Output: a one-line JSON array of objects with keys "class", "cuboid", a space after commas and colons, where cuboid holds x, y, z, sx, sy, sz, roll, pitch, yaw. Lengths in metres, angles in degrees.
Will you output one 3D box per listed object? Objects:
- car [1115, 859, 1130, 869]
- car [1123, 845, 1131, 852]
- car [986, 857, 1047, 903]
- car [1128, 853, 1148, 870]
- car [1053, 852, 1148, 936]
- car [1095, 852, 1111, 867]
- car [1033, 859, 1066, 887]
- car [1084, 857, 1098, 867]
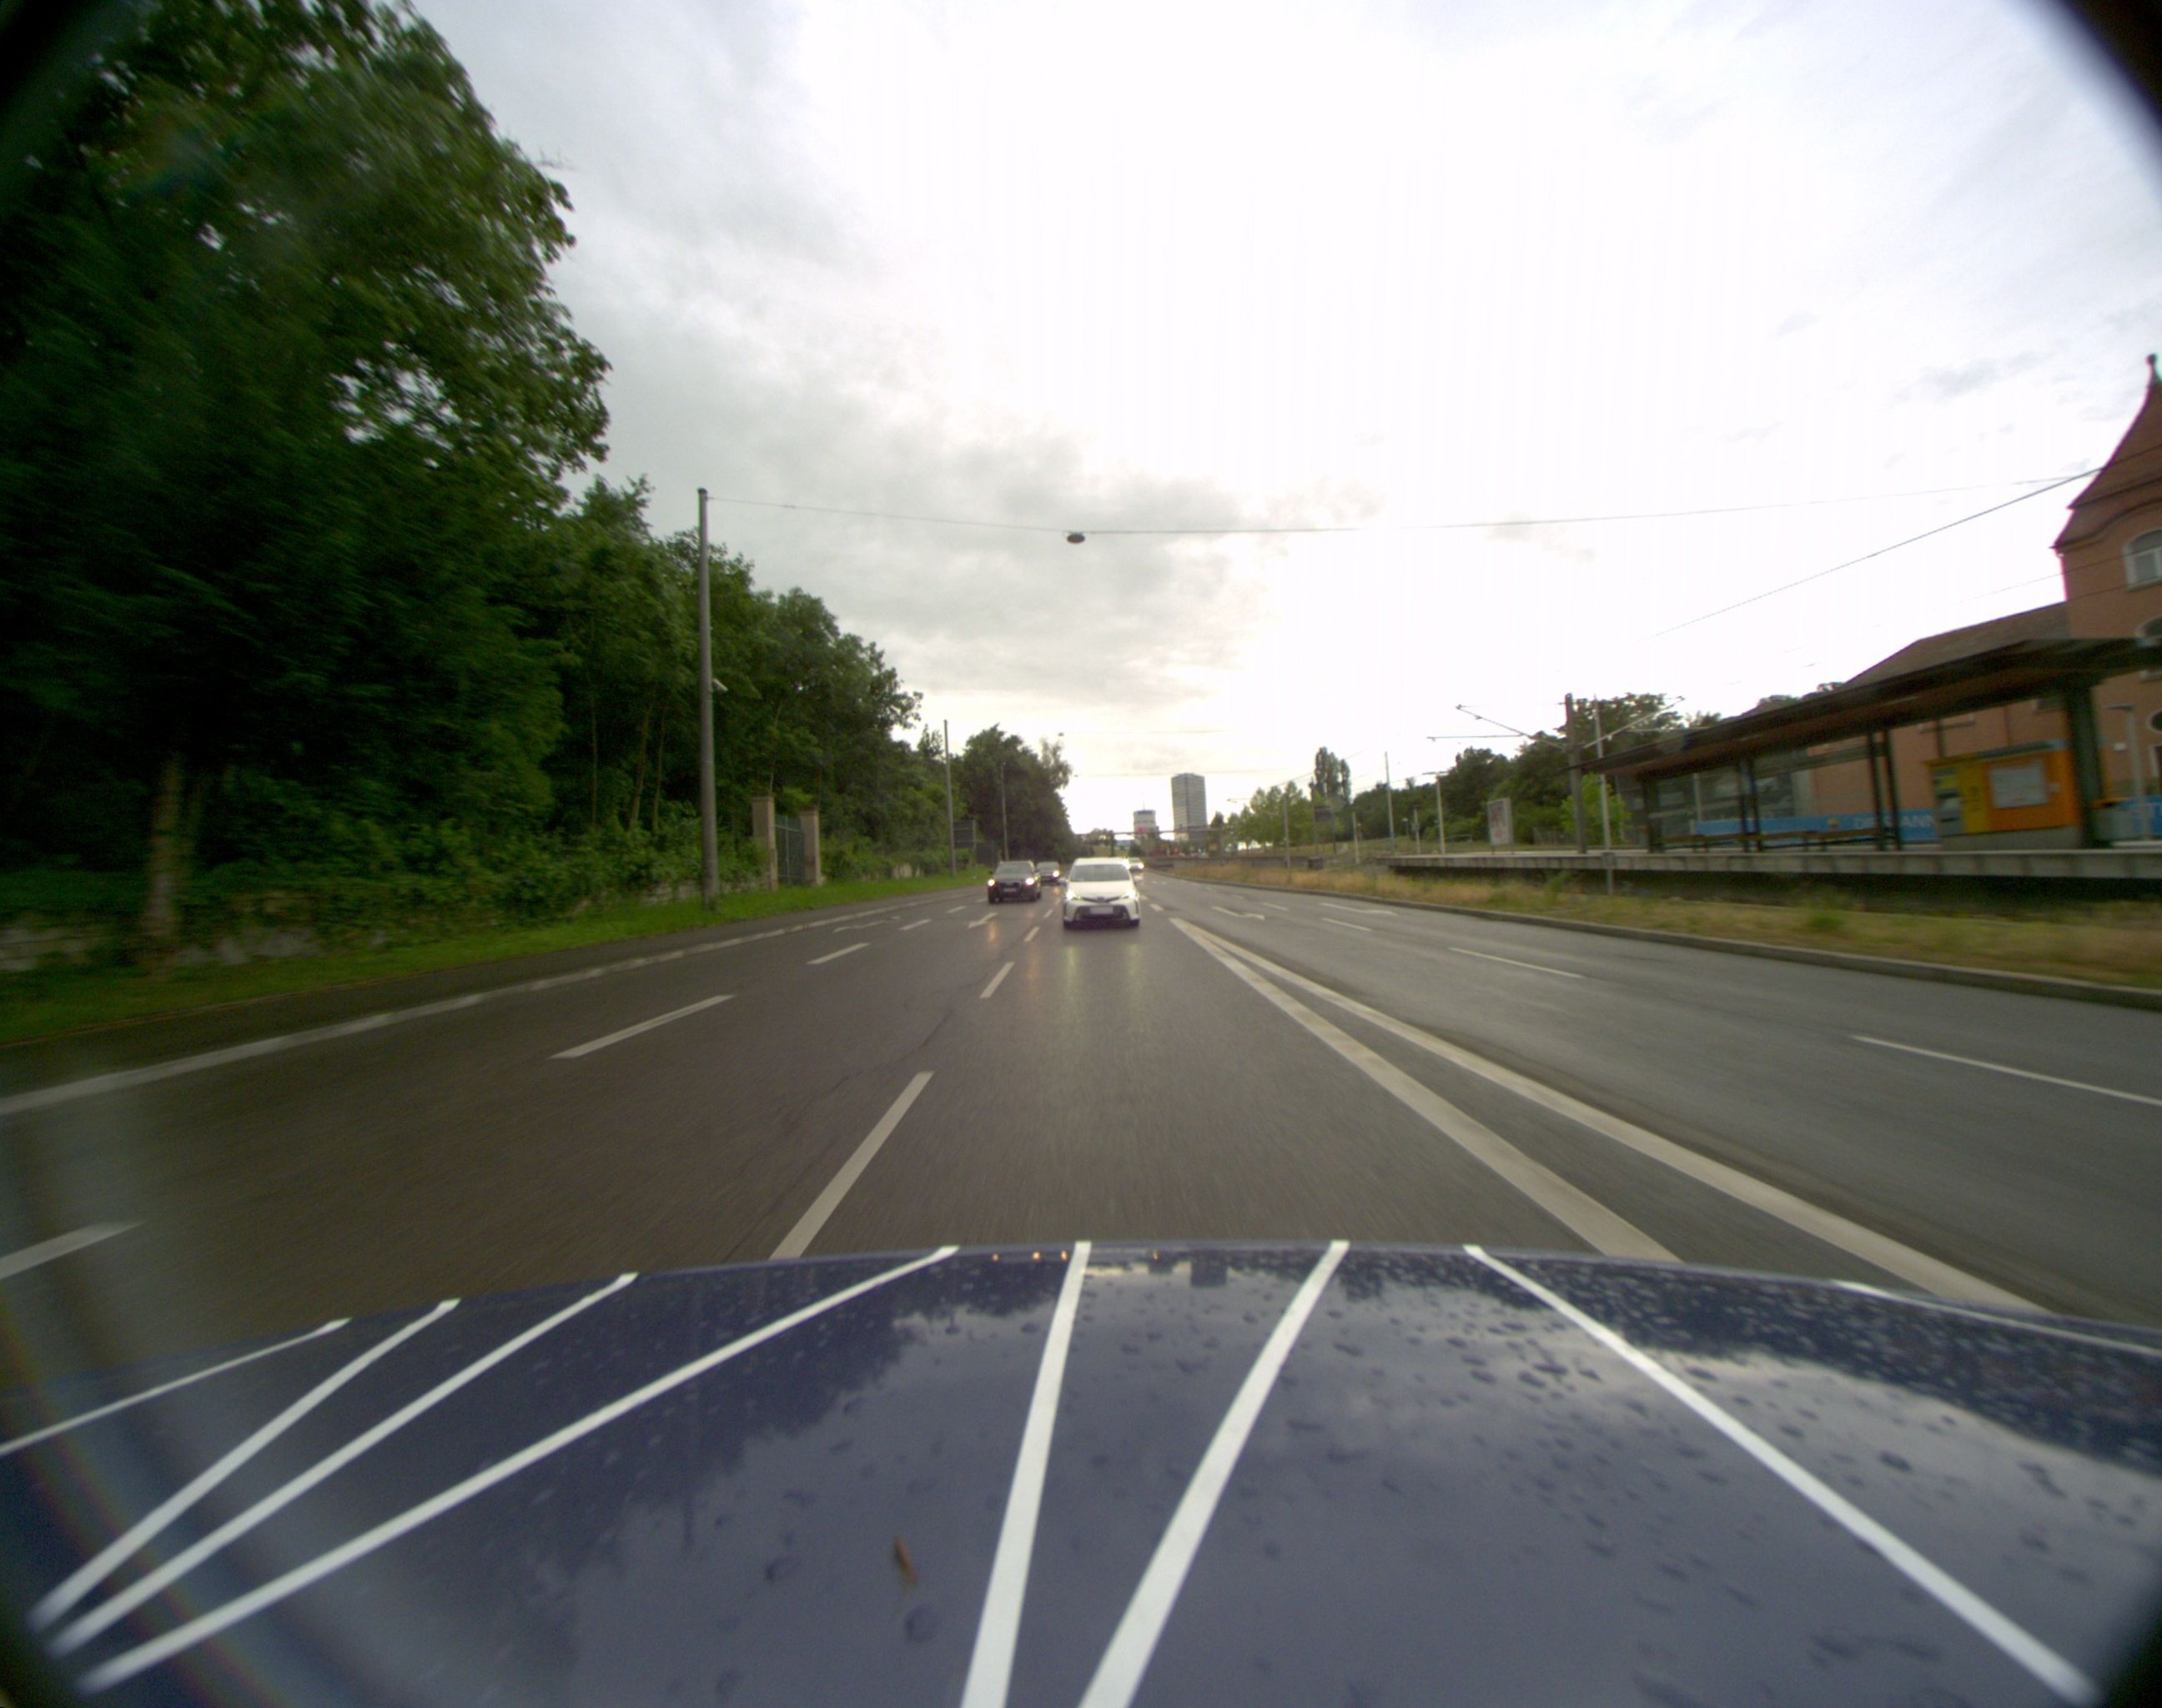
[{"class": "car", "cuboid": [6.420, 1.487, 118.658, 1.802, 1.463, 3.999, -2, 0, -4]}, {"class": "car", "cuboid": [10.862, -1.215, 179.109, 1.801, 1.462, 4.001, -2, -1, 4]}, {"class": "car", "cuboid": [-2.453, 0.968, 29.900, 1.855, 1.578, 4.000, -2, 0, 2]}, {"class": "car", "cuboid": [5.692, 0.762, 75.876, 1.738, 1.578, 4.000, -2, 0, 2]}, {"class": "car", "cuboid": [0.358, 0.870, 18.525, 1.856, 1.741, 3.998, -2, 0, -4]}, {"class": "car", "cuboid": [2.492, 0.625, 85.297, 1.738, 1.578, 4.000, -2, 0, 2]}, {"class": "car", "cuboid": [-1.929, 1.148, 47.865, 1.738, 1.578, 4.000, -2, 0, 2]}, {"class": "car", "cuboid": [1.503, 1.255, 115.107, 1.802, 1.462, 4.000, -2, -1, -2]}]
